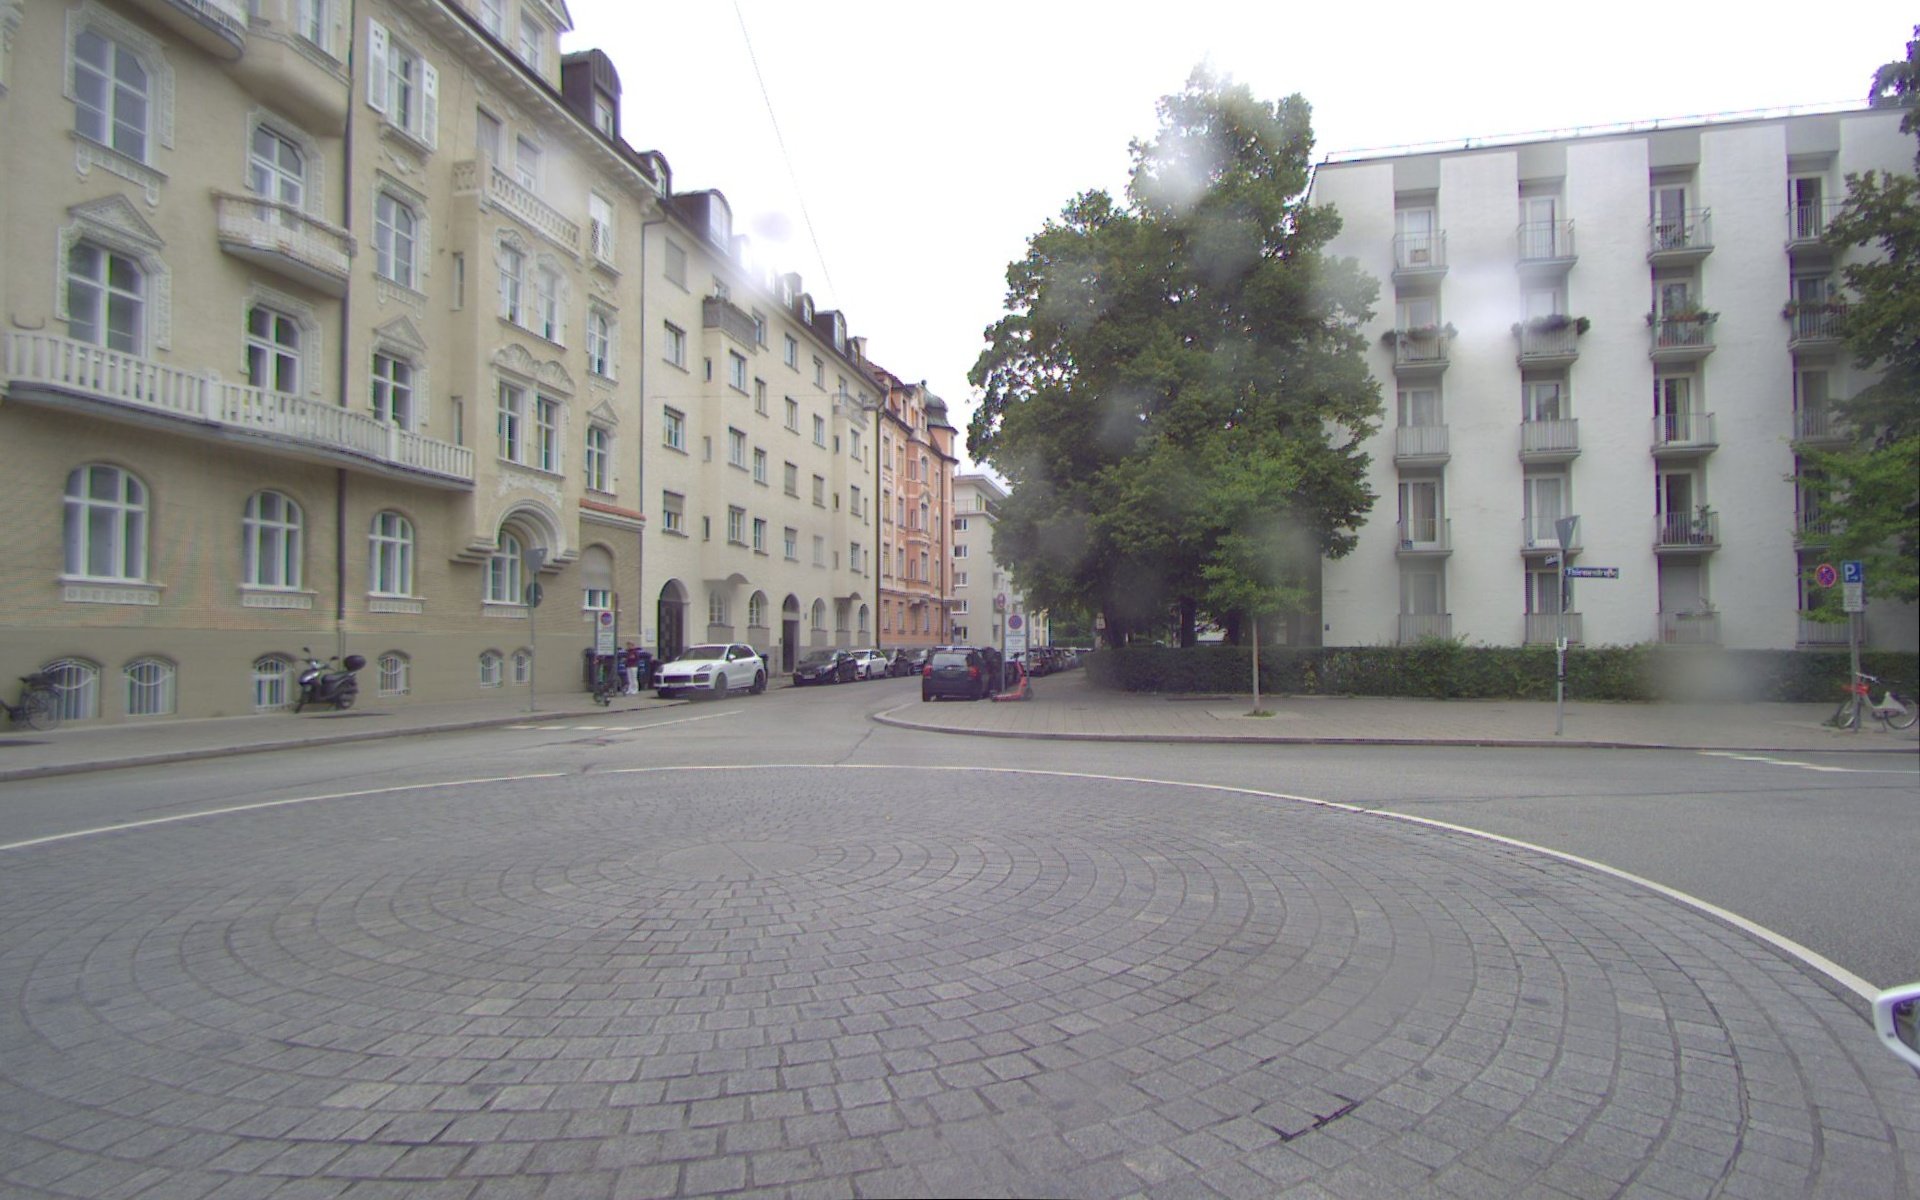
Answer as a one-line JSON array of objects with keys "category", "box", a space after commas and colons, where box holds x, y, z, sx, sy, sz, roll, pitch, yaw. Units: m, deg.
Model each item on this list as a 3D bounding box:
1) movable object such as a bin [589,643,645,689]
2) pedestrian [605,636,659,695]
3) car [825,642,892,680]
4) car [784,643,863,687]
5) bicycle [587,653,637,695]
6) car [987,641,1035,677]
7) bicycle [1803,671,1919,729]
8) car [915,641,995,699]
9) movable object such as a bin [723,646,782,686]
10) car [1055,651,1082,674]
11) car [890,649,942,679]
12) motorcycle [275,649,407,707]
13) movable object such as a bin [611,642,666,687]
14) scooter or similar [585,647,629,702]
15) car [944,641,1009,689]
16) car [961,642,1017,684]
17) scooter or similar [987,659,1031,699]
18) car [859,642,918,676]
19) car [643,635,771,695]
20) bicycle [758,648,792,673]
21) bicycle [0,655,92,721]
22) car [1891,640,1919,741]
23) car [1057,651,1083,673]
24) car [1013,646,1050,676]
[{"category": "movable object such as a bin", "box": [-11.251, 2.153, 32.970, 1.318, 1.476, 1.164, 0, -2, 13]}, {"category": "pedestrian", "box": [-10.368, 2.057, 31.809, 1.109, 1.828, 1.272, 0, -2, 13]}, {"category": "car", "box": [-4.650, 2.788, 46.623, 1.959, 1.616, 4.215, 0, -2, 11]}, {"category": "car", "box": [-5.589, 2.663, 41.770, 1.959, 1.713, 4.215, 0, -2, 11]}, {"category": "bicycle", "box": [-10.223, 2.158, 29.543, 0.539, 1.165, 1.847, 0, -2, 10]}, {"category": "car", "box": [2.327, 2.592, 44.852, 1.740, 1.538, 4.038, 0, -2, 8]}, {"category": "bicycle", "box": [18.034, 1.965, 19.825, 1.931, 1.065, 0.914, 0, -2, 9]}, {"category": "car", "box": [-0.073, 1.996, 29.442, 1.740, 1.538, 4.038, 0, -2, 8]}, {"category": "movable object such as a bin", "box": [-7.348, 2.325, 35.694, 1.530, 1.367, 1.539, 0, -2, 13]}, {"category": "car", "box": [7.614, 4.371, 70.418, 1.740, 1.538, 4.038, 0, -2, 8]}, {"category": "car", "box": [-2.439, 3.575, 56.600, 1.959, 1.616, 4.215, 0, -2, 11]}, {"category": "motorcycle", "box": [-13.743, 1.704, 22.432, 0.986, 1.195, 2.566, 0, -3, 12]}, {"category": "movable object such as a bin", "box": [-10.975, 2.193, 34.318, 1.318, 1.476, 1.297, 0, -2, 13]}, {"category": "scooter or similar", "box": [-9.349, 1.961, 26.589, 0.702, 1.413, 1.342, 2, -3, -37]}, {"category": "car", "box": [0.623, 2.197, 34.791, 1.740, 1.538, 4.038, 0, -2, 8]}, {"category": "car", "box": [1.191, 2.447, 39.486, 1.740, 1.538, 4.038, 0, -2, 8]}, {"category": "scooter or similar", "box": [1.284, 2.080, 26.495, 1.119, 1.039, 0.379, 1, -2, -1]}, {"category": "car", "box": [-3.631, 3.003, 51.731, 1.959, 1.616, 4.215, 0, -2, 11]}, {"category": "car", "box": [-7.769, 1.977, 31.420, 1.959, 1.713, 4.814, 0, -2, 11]}, {"category": "bicycle", "box": [-8.668, 2.830, 47.191, 0.739, 1.124, 2.297, 0, -2, 12]}, {"category": "bicycle", "box": [-15.442, 1.433, 16.446, 0.549, 1.036, 1.884, 0, -3, 12]}, {"category": "car", "box": [19.401, 1.604, 17.134, 4.807, 1.790, 2.073, 0, -2, 8]}, {"category": "car", "box": [8.241, 4.620, 75.010, 1.740, 1.538, 4.038, 0, -2, 8]}, {"category": "car", "box": [4.010, 3.383, 56.094, 1.740, 1.538, 4.038, 0, -2, 8]}]
